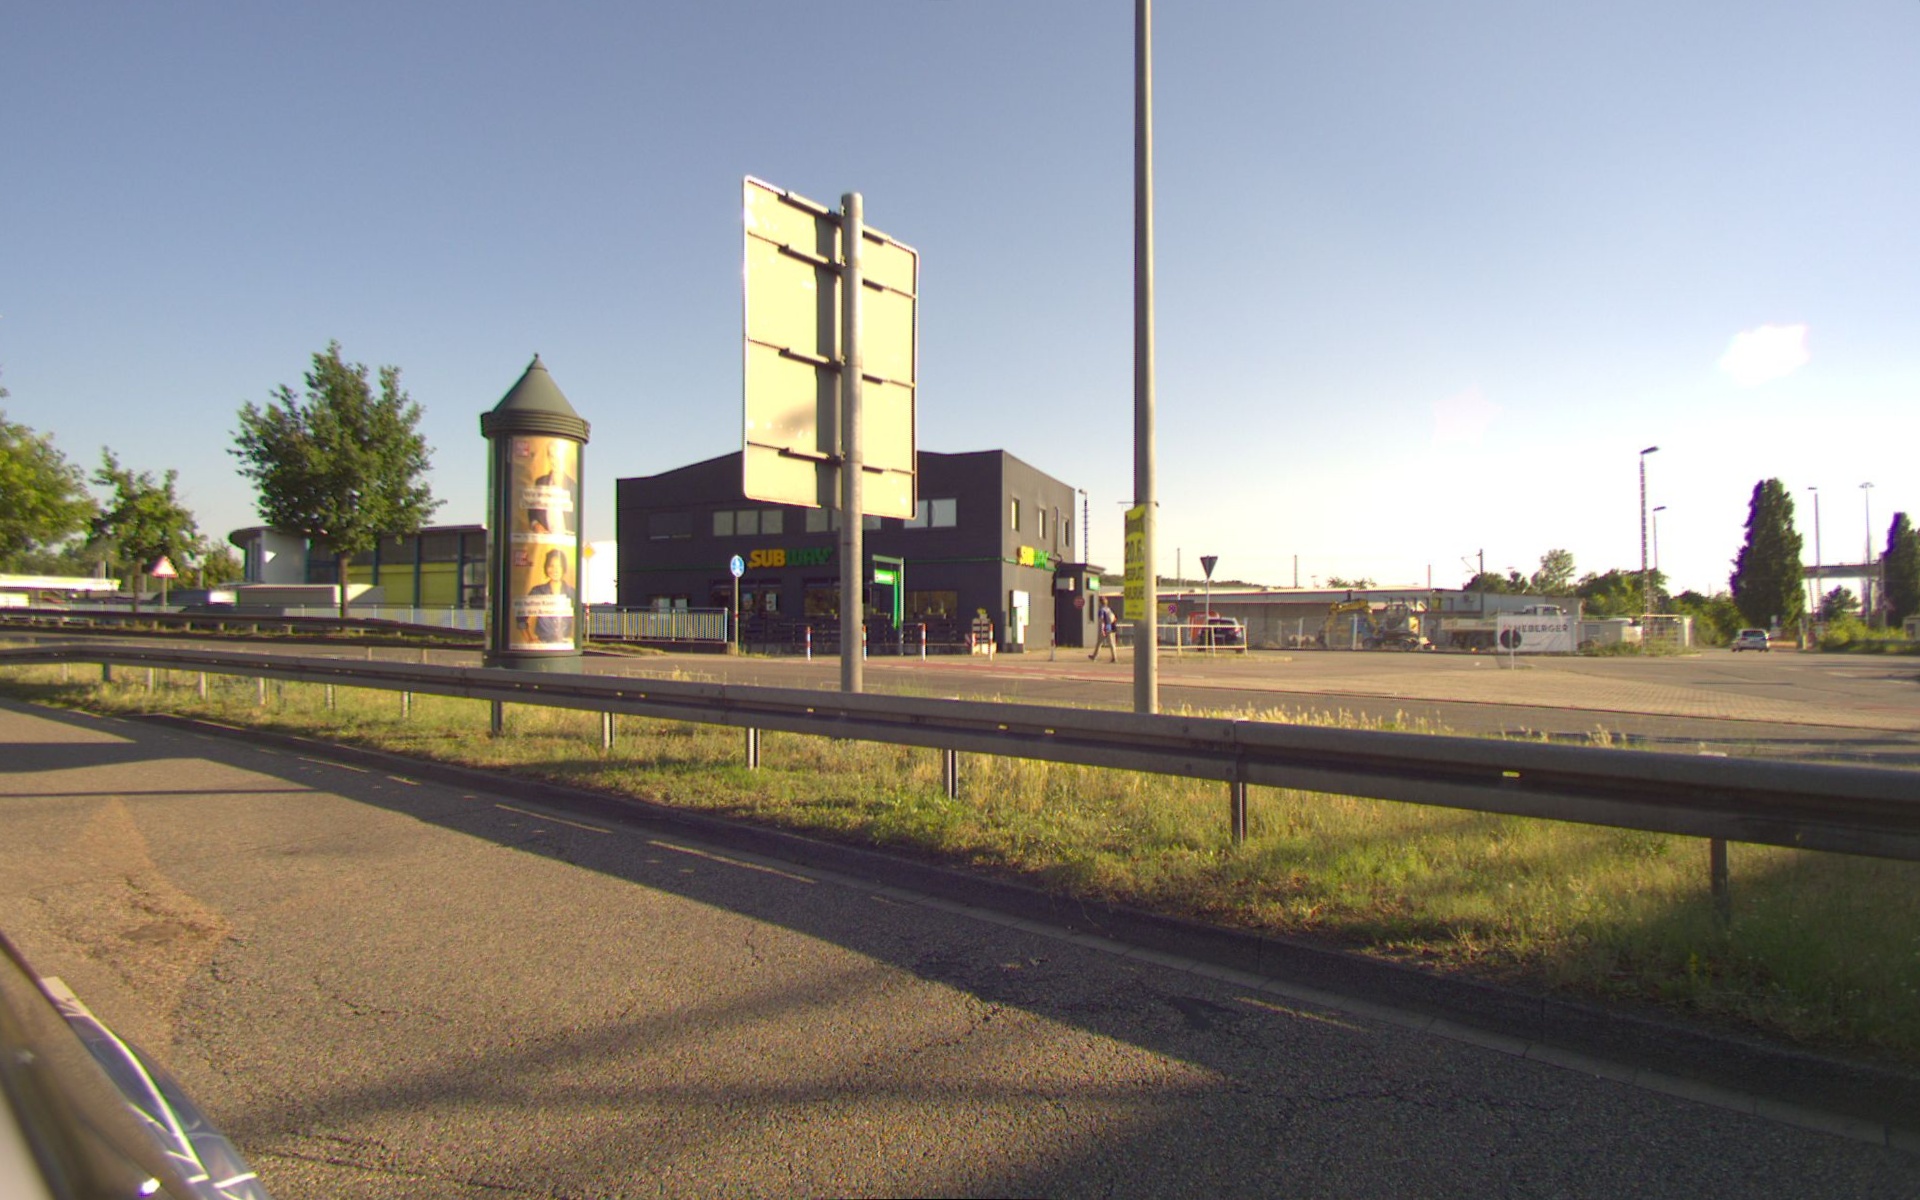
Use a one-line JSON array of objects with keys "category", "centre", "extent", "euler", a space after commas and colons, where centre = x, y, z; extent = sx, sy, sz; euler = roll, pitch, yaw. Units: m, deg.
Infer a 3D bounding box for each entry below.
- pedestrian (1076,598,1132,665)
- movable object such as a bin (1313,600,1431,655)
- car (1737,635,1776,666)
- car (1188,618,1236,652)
[{"category": "pedestrian", "centre": [4.139, 0.875, 29.046], "extent": [1.085, 1.849, 1.258], "euler": [-1, 0, 42]}, {"category": "movable object such as a bin", "centre": [25.331, 1.644, 62.392], "extent": [6.587, 3.241, 2.428], "euler": [-1, 0, 23]}, {"category": "car", "centre": [56.935, 3.564, 72.404], "extent": [1.996, 2.029, 3.952], "euler": [-1, 0, 35]}, {"category": "car", "centre": [15.991, 2.183, 64.094], "extent": [1.991, 2.029, 3.962], "euler": [-1, 0, 28]}]
